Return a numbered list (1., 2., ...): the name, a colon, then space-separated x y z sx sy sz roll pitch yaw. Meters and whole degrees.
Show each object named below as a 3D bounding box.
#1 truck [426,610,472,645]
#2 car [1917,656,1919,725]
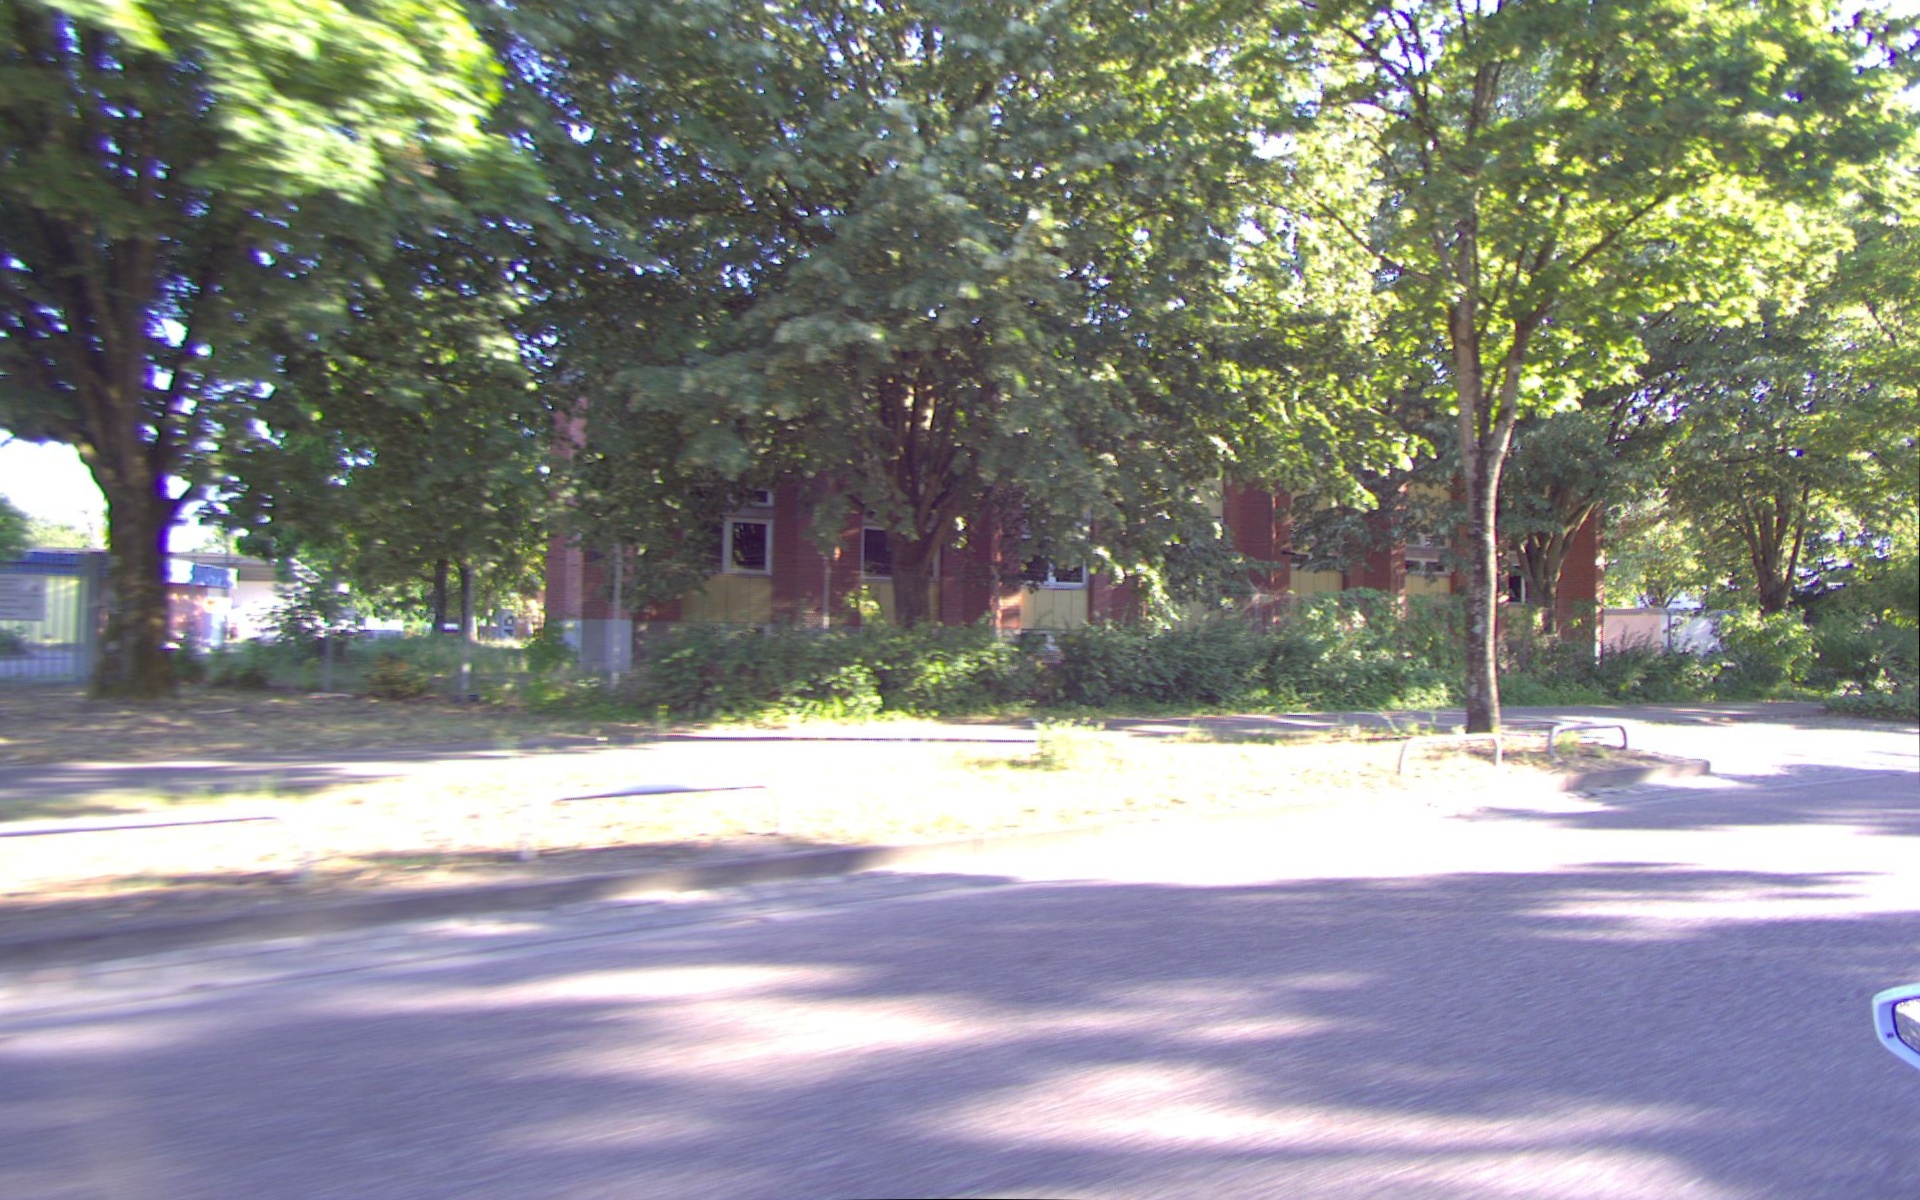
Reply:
1. truck: -40.239 2.190 79.159 2.253 2.618 4.986 1 -2 -16
2. car: 23.147 2.001 21.024 1.684 1.550 4.197 2 -2 -27
